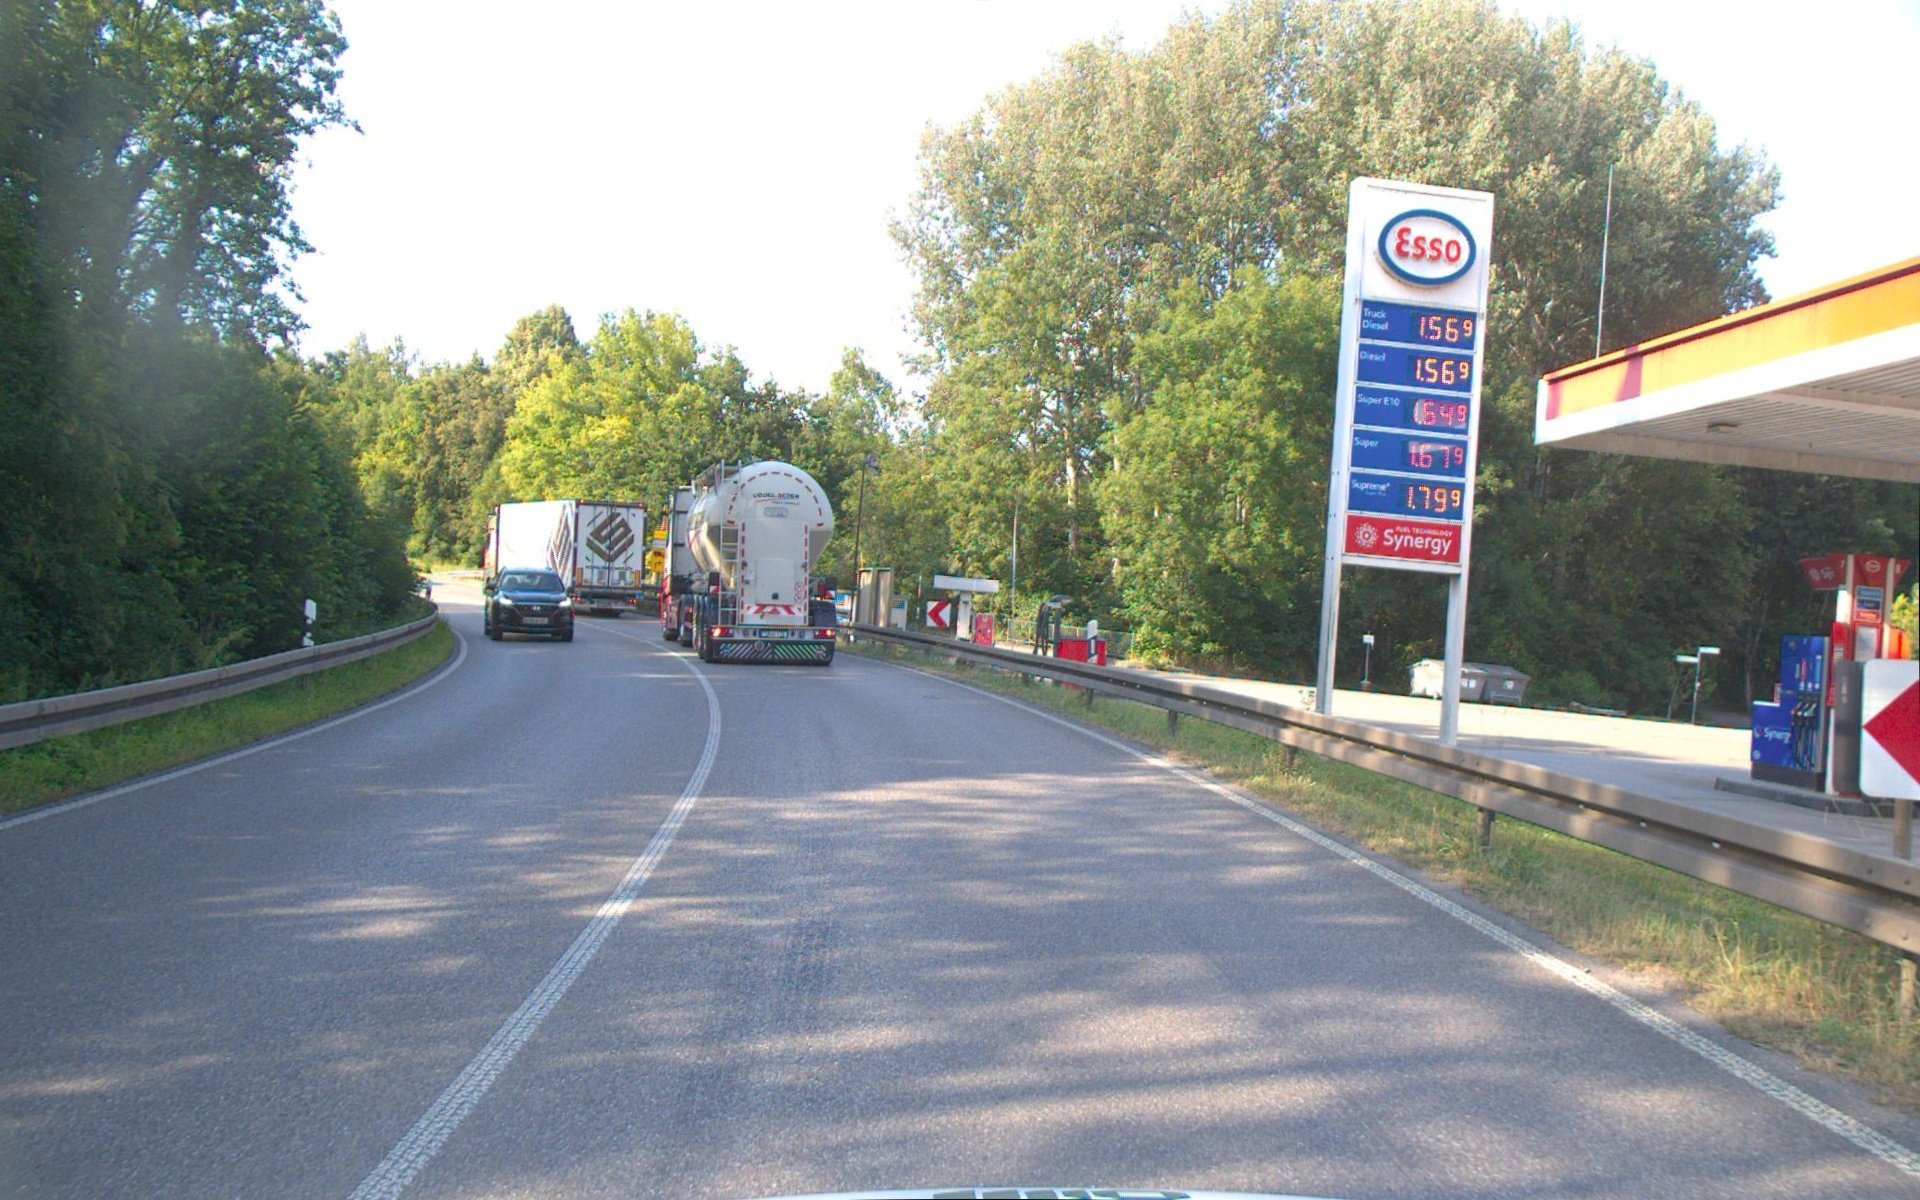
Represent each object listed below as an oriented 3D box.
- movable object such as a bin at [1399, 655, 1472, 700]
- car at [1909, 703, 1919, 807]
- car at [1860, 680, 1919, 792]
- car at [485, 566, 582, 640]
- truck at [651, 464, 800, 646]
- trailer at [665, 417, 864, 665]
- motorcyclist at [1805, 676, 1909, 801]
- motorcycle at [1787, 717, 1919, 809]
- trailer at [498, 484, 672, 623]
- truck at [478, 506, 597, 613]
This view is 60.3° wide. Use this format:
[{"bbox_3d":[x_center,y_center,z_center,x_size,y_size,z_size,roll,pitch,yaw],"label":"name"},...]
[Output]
[{"bbox_3d":[17.780,2.888,61.921,1.248,1.444,2.542,7,-1,-20],"label":"movable object such as a bin"},{"bbox_3d":[13.597,2.085,19.611,1.807,1.342,4.384,3,0,-6],"label":"car"},{"bbox_3d":[16.035,2.213,24.502,2.053,1.656,5.172,3,0,-7],"label":"car"},{"bbox_3d":[-10.396,0.029,40.099,1.840,1.682,4.523,1,1,-20],"label":"car"},{"bbox_3d":[-5.908,-1.059,40.896,2.779,4.105,5.868,1,0,-16],"label":"truck"},{"bbox_3d":[-4.460,-1.137,35.534,2.838,4.532,9.568,2,0,-15],"label":"trailer"},{"bbox_3d":[12.596,1.931,23.250,0.842,1.632,0.926,4,0,-7],"label":"motorcyclist"},{"bbox_3d":[12.598,2.244,23.008,0.747,1.029,2.337,3,0,-7],"label":"motorcycle"},{"bbox_3d":[-14.602,-1.731,63.258,3.502,4.591,12.878,3,0,-26],"label":"trailer"},{"bbox_3d":[-17.943,-1.699,69.947,3.409,4.157,6.434,3,0,-27],"label":"truck"}]
